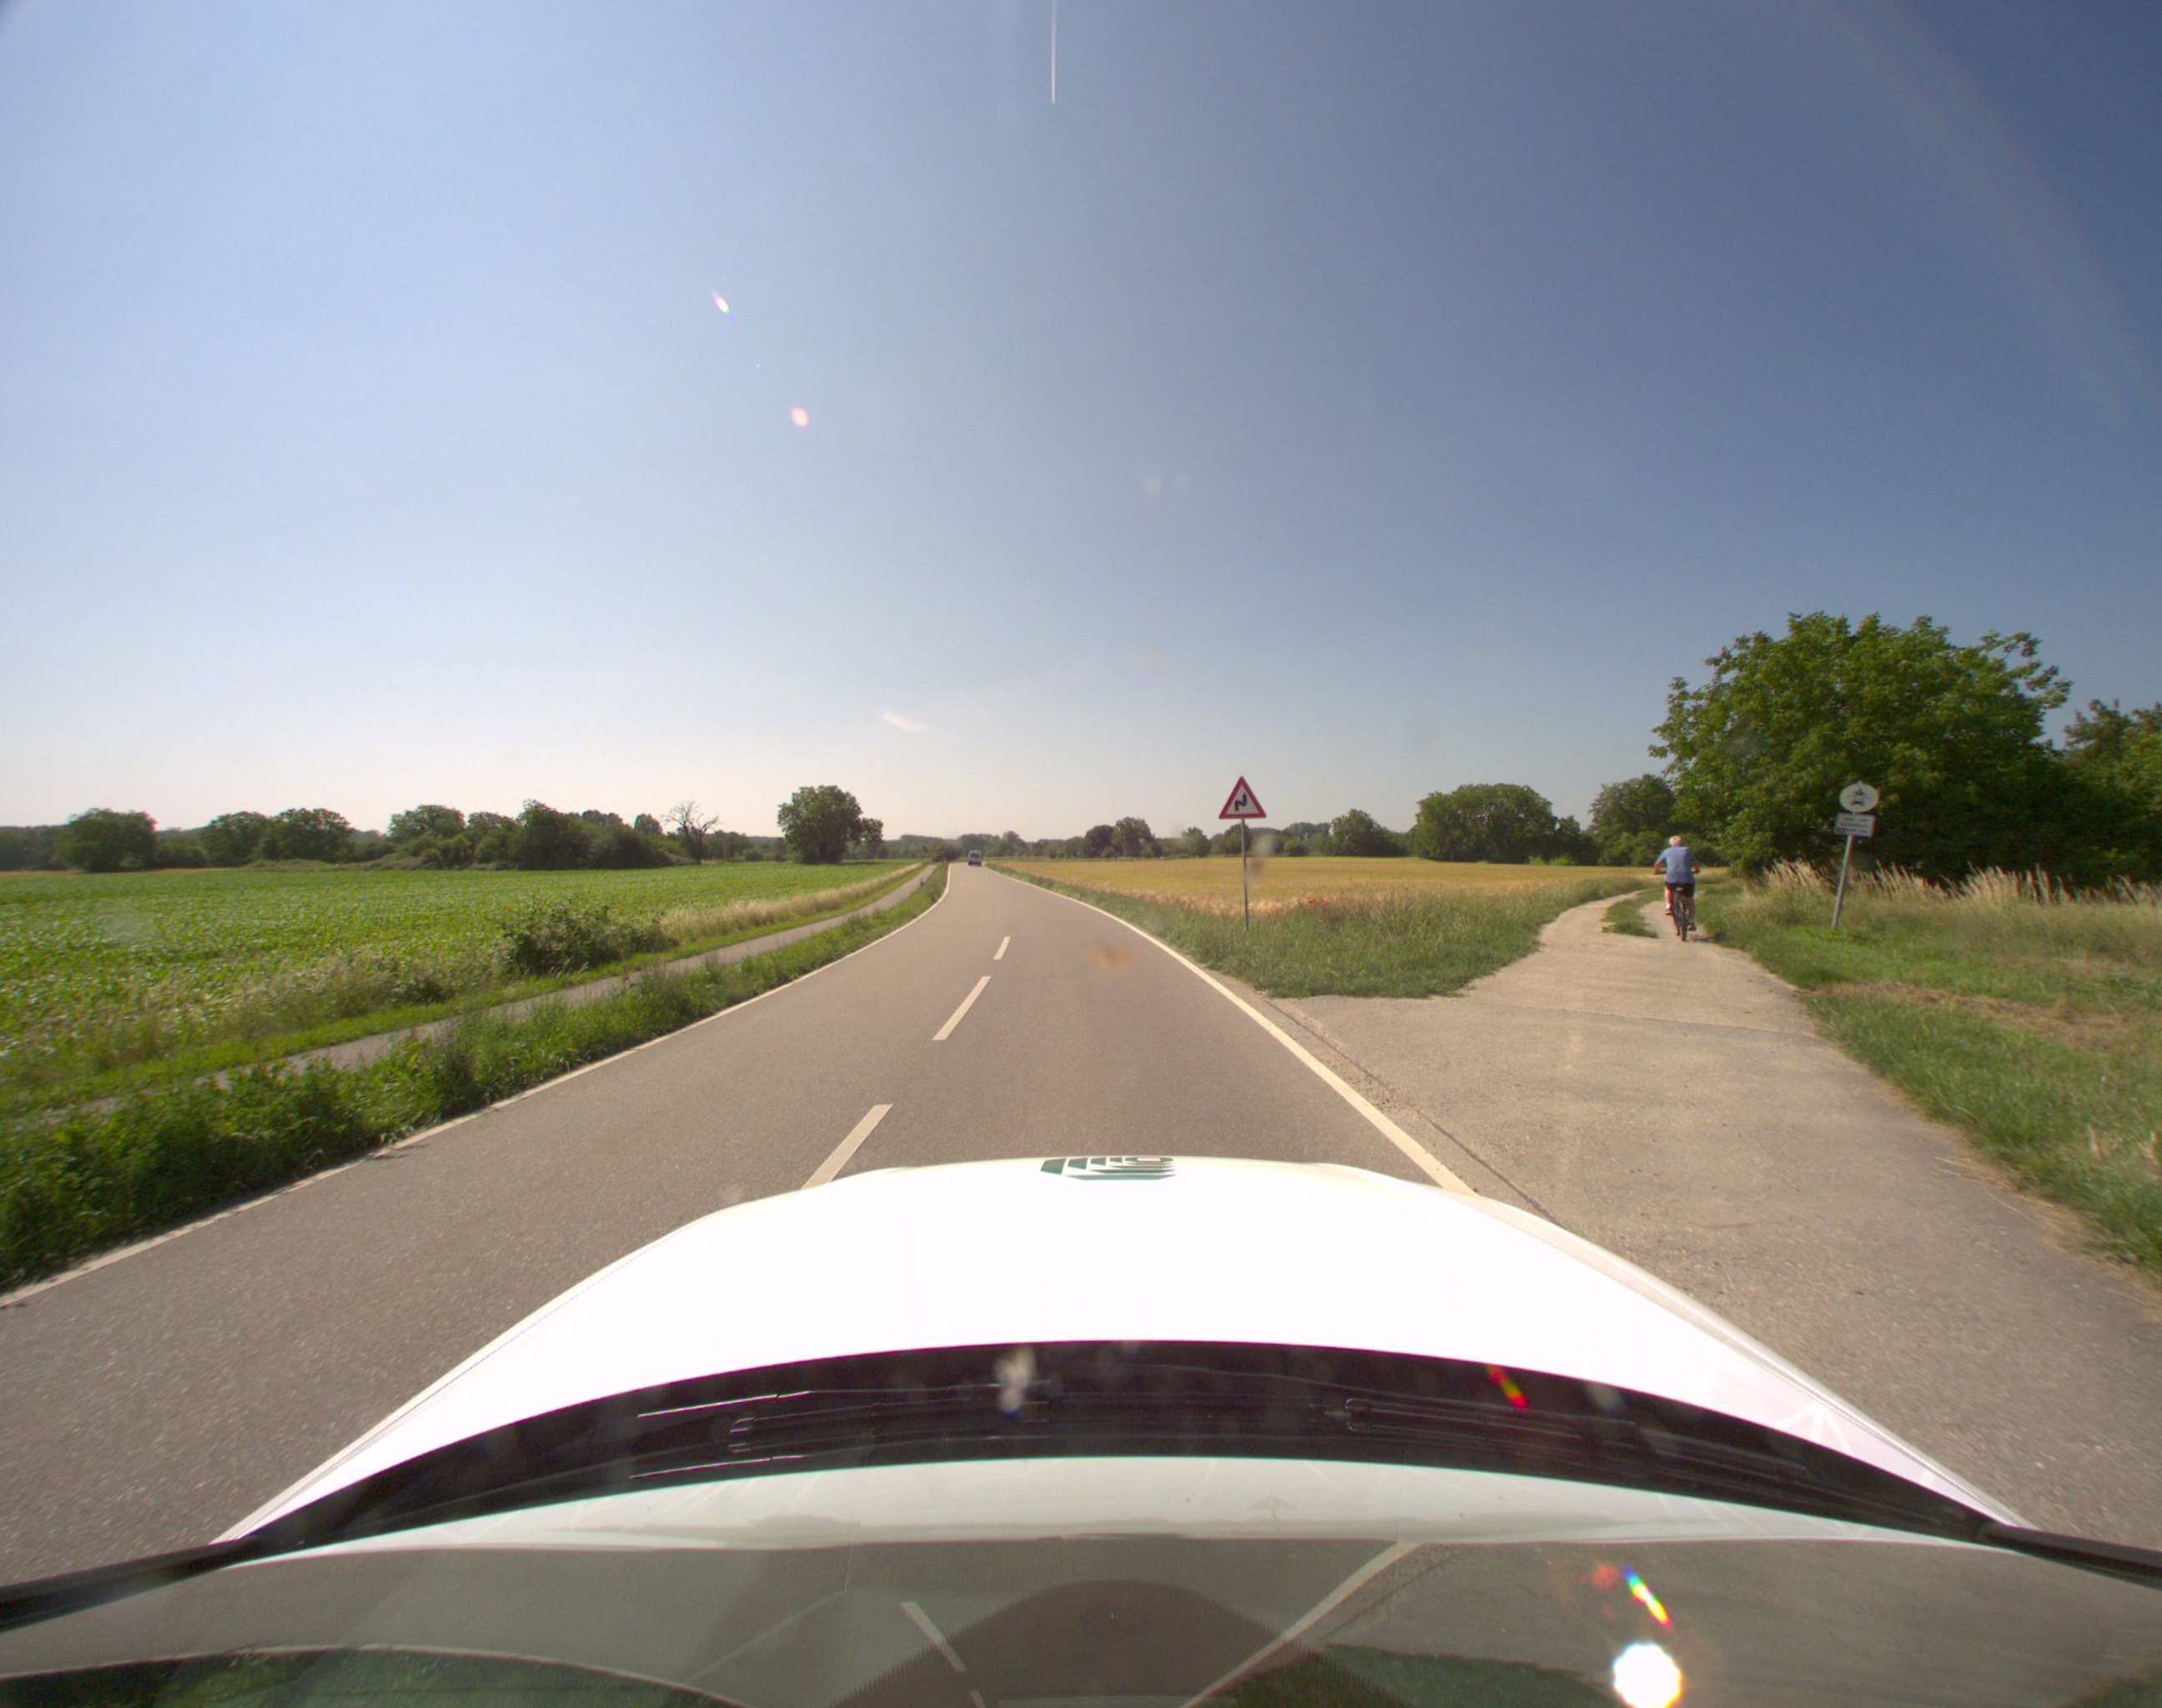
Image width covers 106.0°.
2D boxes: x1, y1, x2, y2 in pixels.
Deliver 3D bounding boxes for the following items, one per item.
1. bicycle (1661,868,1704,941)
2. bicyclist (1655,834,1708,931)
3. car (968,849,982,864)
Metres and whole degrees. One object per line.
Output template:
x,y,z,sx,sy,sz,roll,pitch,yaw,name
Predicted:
10.146,0.817,13.772,0.515,1.115,1.780,-1,0,35,bicycle
10.154,0.469,13.791,0.666,1.574,0.740,-1,-1,35,bicyclist
-17.602,0.387,135.170,2.101,2.367,5.675,-1,0,-6,car
